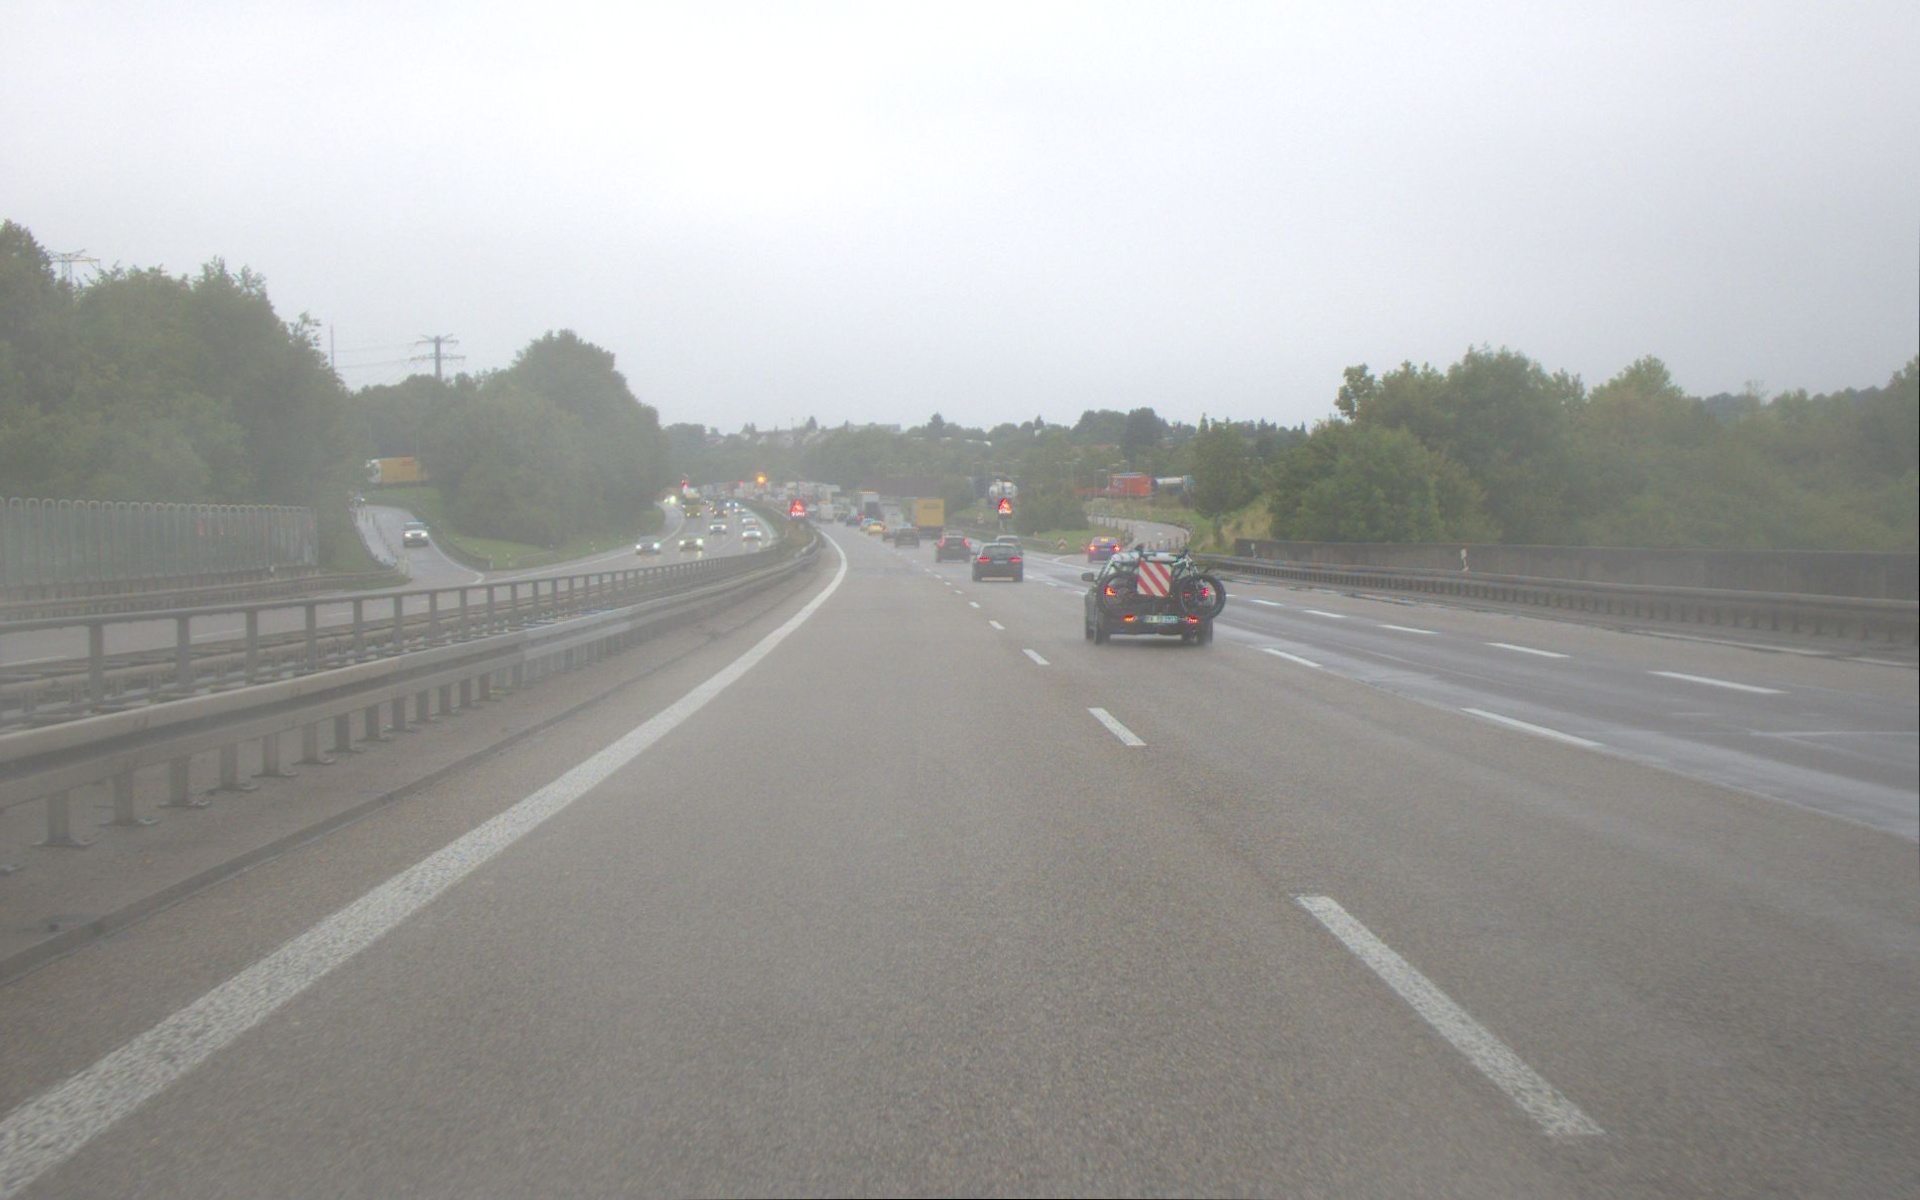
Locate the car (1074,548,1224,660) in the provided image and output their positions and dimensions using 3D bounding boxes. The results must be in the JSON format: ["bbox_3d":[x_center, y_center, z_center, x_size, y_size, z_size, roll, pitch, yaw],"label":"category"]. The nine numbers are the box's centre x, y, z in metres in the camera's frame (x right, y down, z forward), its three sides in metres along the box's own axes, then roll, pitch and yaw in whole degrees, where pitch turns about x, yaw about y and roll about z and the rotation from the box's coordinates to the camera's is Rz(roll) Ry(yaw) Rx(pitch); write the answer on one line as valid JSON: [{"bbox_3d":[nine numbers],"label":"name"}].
[{"bbox_3d":[2.910,0.024,54.079,2.057,1.665,5.522,0,1,0],"label":"car"}]

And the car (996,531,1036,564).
[{"bbox_3d":[3.237,-3.057,198.760,1.993,1.755,4.001,-2,2,-3],"label":"car"}]

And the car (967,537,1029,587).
[{"bbox_3d":[1.394,-1.428,127.976,1.993,1.755,4.001,-2,2,-3],"label":"car"}]

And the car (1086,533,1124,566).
[{"bbox_3d":[7.942,-2.763,188.038,1.922,1.703,4.000,-1,2,4],"label":"car"}]

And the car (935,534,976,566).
[{"bbox_3d":[-0.276,-2.761,188.466,1.993,1.623,4.001,-2,2,-3],"label":"car"}]
